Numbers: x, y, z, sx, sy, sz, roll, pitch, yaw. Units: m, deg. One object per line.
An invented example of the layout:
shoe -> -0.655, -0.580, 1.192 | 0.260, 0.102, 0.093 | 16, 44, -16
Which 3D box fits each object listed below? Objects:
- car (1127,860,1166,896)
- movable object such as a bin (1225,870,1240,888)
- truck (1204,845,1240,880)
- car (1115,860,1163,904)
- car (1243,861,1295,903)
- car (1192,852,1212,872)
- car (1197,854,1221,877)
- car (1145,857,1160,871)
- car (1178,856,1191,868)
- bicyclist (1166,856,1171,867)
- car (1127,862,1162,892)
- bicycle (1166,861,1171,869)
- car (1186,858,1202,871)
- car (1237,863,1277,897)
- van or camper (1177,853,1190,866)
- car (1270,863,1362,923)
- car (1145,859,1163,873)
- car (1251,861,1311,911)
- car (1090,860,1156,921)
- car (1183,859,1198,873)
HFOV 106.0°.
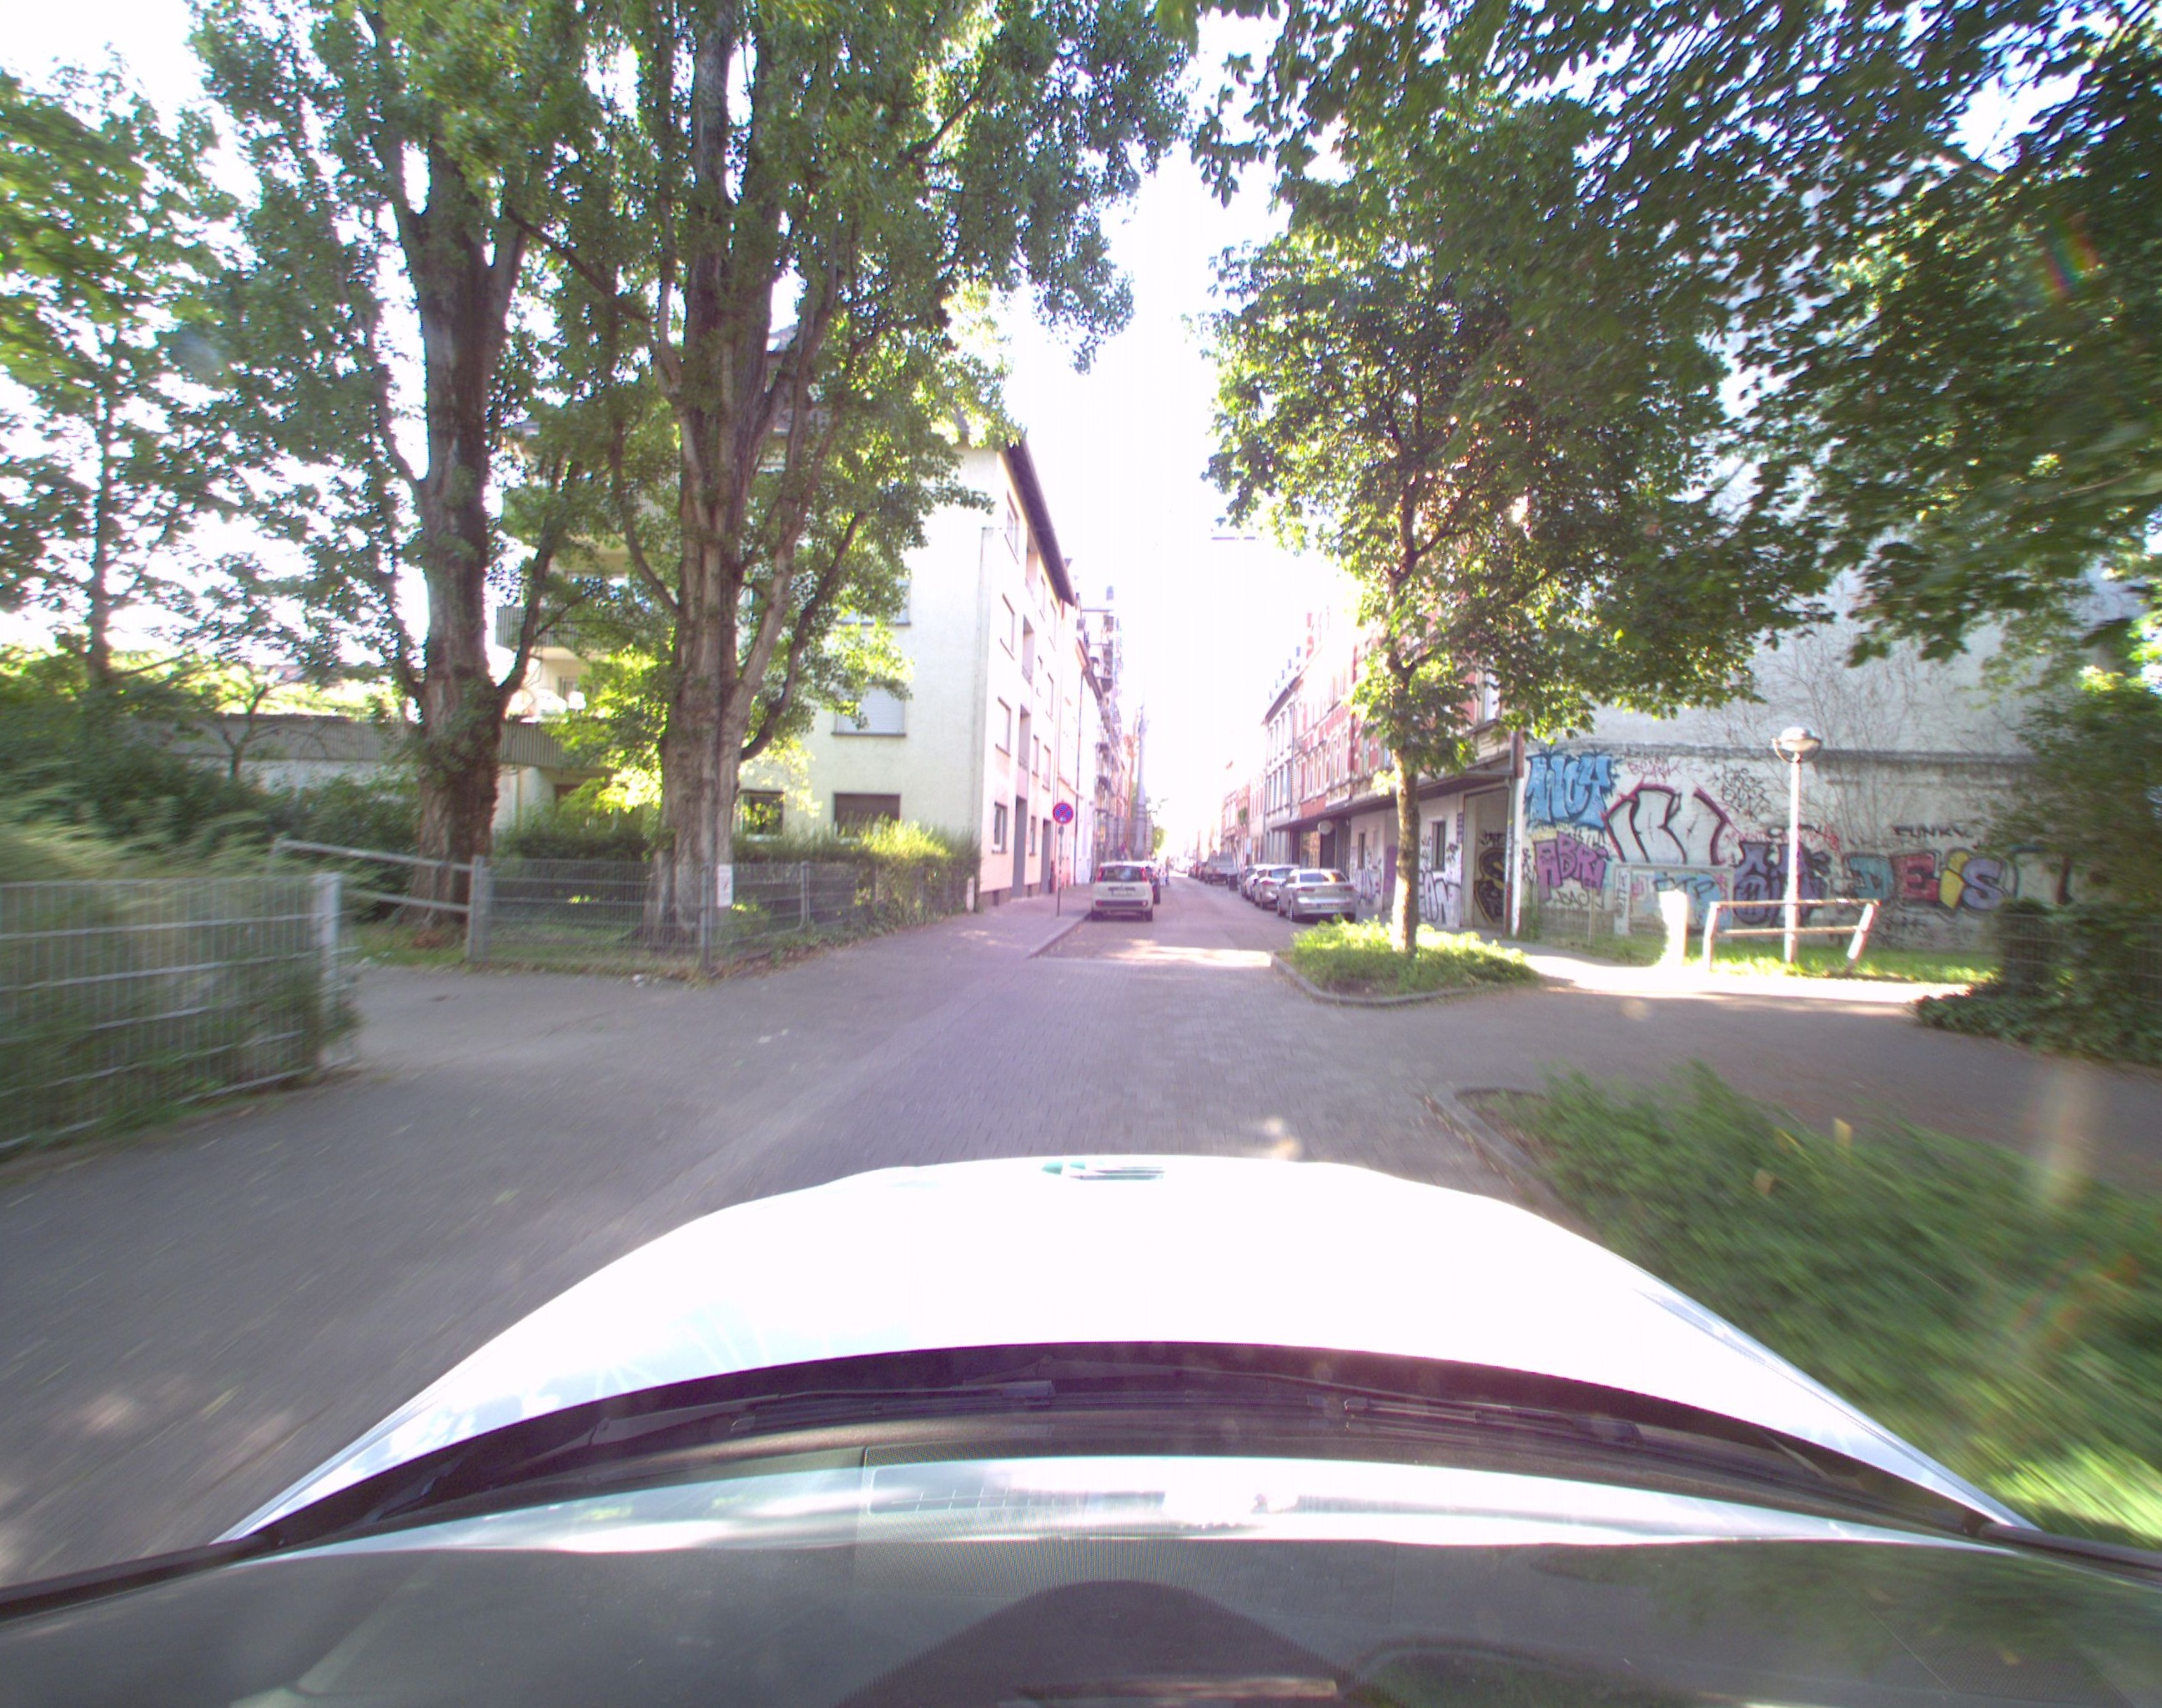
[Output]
car -> 3.038, 1.059, 37.354 | 1.667, 1.512, 4.421 | 1, 0, 5
movable object such as a bin -> 9.400, 1.565, 50.519 | 0.791, 1.056, 0.661 | 1, 0, 5
truck -> 10.804, 0.633, 62.731 | 2.180, 2.607, 5.240 | 0, 0, 4
car -> 2.194, 1.021, 31.361 | 1.722, 1.540, 4.381 | 0, -1, 3
car -> 8.105, 1.152, 35.439 | 1.737, 1.675, 4.348 | 1, 0, 7
car -> 12.703, 0.886, 85.684 | 1.668, 2.031, 3.872 | 1, -1, 3
car -> 11.471, 1.013, 73.227 | 1.668, 1.963, 4.112 | 1, -1, 3
car -> 8.239, 1.116, 94.254 | 1.668, 1.571, 3.872 | 1, 0, 3
car -> 17.410, 1.344, 137.423 | 1.984, 1.849, 4.005 | 0, 0, 4
bicyclist -> 13.284, 1.125, 123.392 | 0.726, 1.761, 0.837 | 2, 0, 6
car -> 3.383, 1.183, 42.917 | 1.667, 1.477, 4.614 | 1, 0, 5
bicycle -> 13.257, 1.614, 123.369 | 0.721, 1.186, 2.046 | 2, 1, 6
car -> 13.723, 1.259, 99.009 | 1.668, 1.571, 3.872 | 1, 0, 3
car -> 8.767, 1.255, 40.759 | 1.588, 1.560, 3.821 | 1, 0, 7
van or camper -> 19.094, 1.043, 152.019 | 1.986, 2.508, 4.203 | 0, 0, 1
car -> 6.753, 1.059, 23.875 | 1.713, 1.562, 4.403 | 2, 0, 4
car -> 7.509, 1.220, 84.091 | 1.668, 1.445, 3.872 | 1, 0, 3
car -> 7.287, 1.120, 29.955 | 1.631, 1.656, 3.876 | 2, 0, 6
car -> 1.172, 0.938, 22.512 | 1.668, 1.540, 3.872 | 0, -1, 3
car -> 16.643, 1.767, 123.454 | 1.984, 2.013, 4.005 | 1, 0, 4
